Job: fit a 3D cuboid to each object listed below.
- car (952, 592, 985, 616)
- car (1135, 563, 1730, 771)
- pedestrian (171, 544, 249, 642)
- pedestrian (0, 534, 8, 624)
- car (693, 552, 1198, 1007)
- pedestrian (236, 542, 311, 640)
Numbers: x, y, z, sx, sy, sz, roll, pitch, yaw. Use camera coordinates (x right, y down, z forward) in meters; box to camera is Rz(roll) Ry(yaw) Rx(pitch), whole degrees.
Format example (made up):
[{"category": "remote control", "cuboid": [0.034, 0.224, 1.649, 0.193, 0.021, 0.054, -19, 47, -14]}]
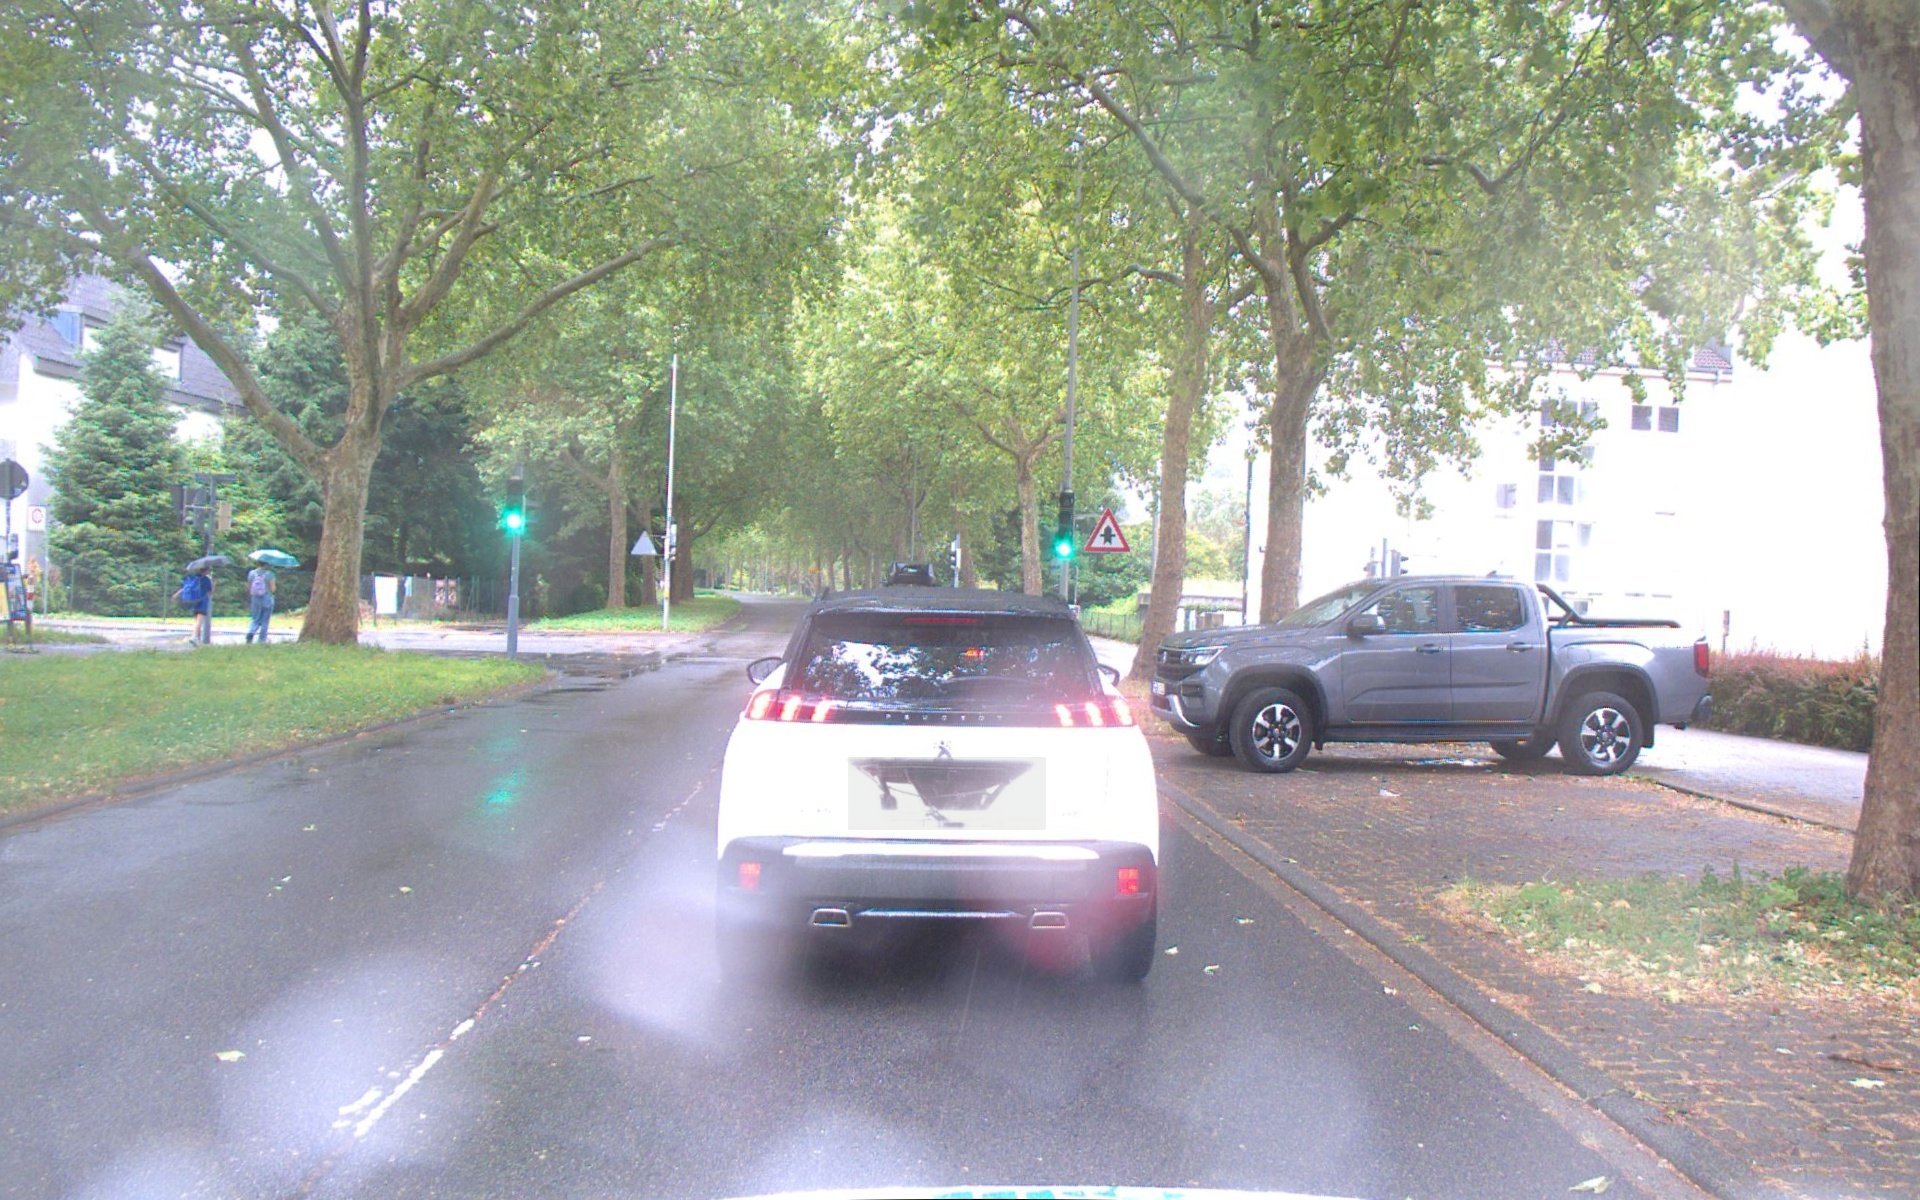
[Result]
[{"category": "car", "cuboid": [0.539, 0.274, 111.711, 1.868, 1.536, 3.927, 2, 0, -5]}, {"category": "car", "cuboid": [4.480, 0.626, 16.014, 5.238, 1.838, 1.842, 1, 0, -8]}, {"category": "pedestrian", "cuboid": [-14.026, -0.133, 30.953, 1.012, 1.796, 0.879, 1, 0, -1]}, {"category": "pedestrian", "cuboid": [-19.344, -0.434, 32.500, 0.842, 1.775, 0.639, 2, 0, -4]}, {"category": "car", "cuboid": [-0.089, 0.620, 7.840, 1.744, 1.563, 4.056, 1, 0, -1]}, {"category": "pedestrian", "cuboid": [-12.879, -0.175, 31.049, 1.012, 1.796, 0.838, 1, 0, -1]}]
